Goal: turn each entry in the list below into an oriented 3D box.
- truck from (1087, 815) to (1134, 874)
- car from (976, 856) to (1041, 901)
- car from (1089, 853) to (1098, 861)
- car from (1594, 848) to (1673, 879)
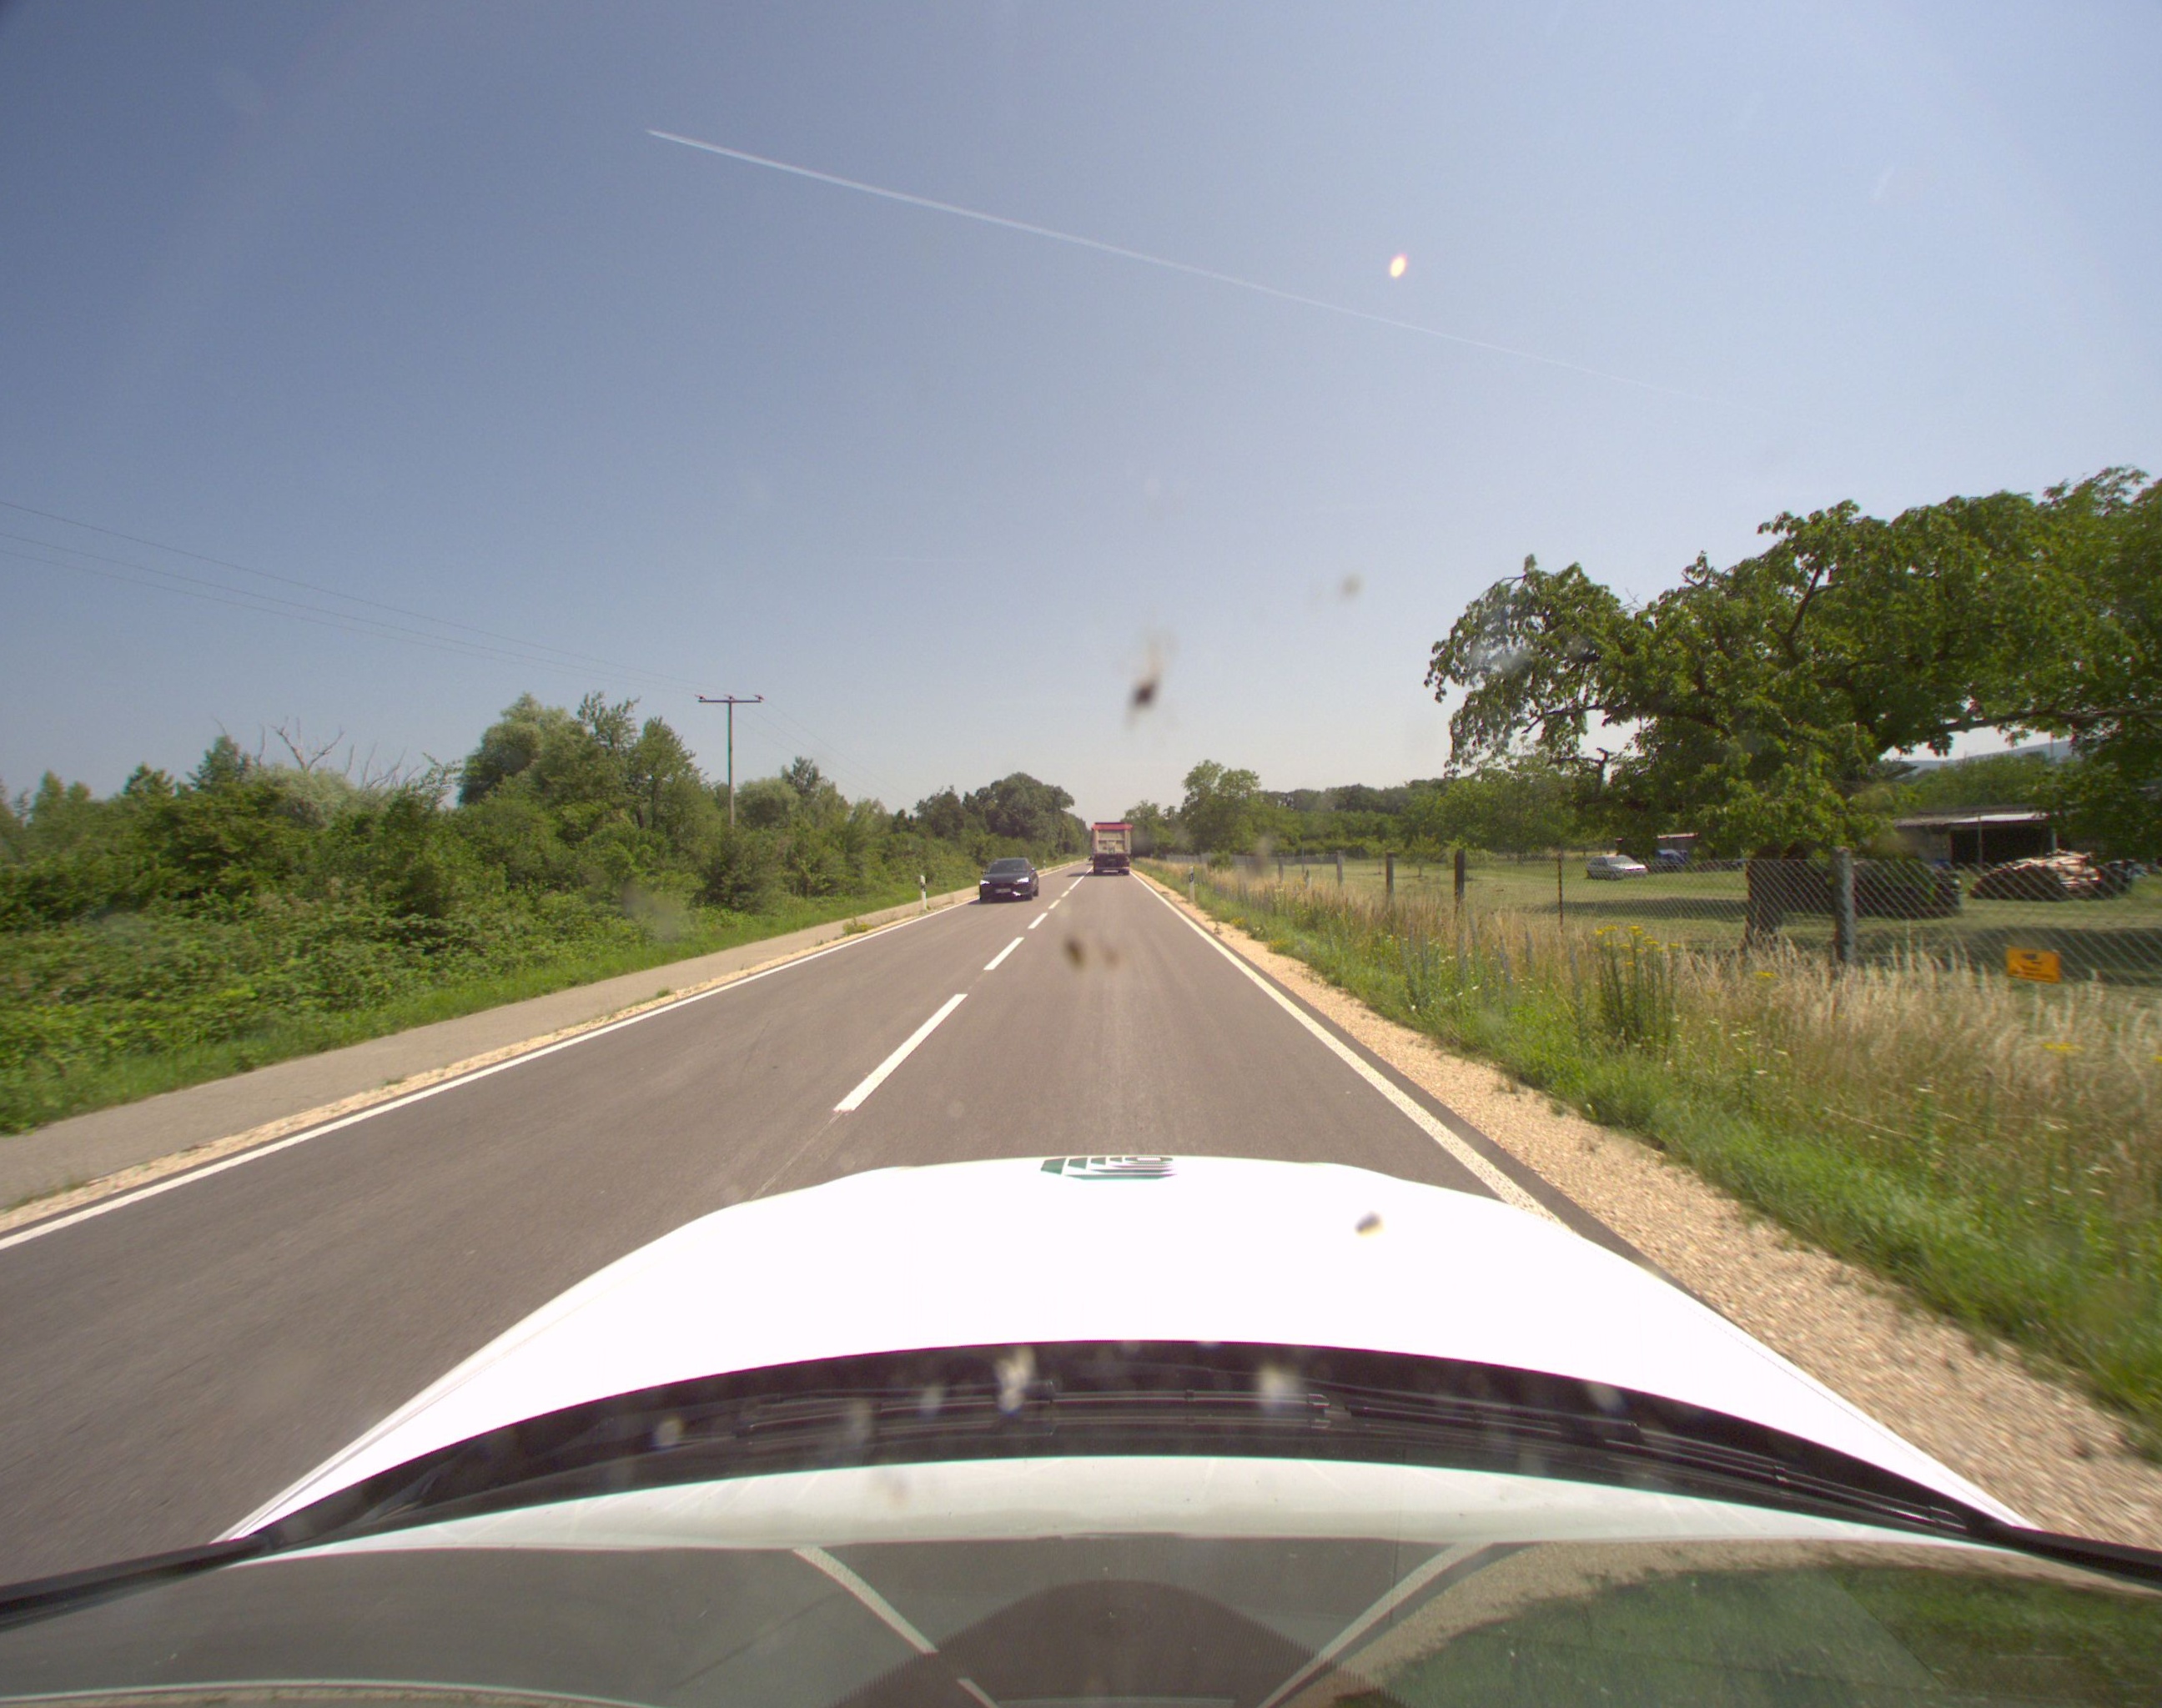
[{"bbox_3d":[2.132,-0.596,59.608,2.998,3.874,12.213,0,0,2],"label":"truck"},{"bbox_3d":[-2.503,0.809,28.886,1.752,1.357,4.047,-3,0,1],"label":"car"},{"bbox_3d":[2.690,0.581,175.867,1.752,1.540,4.047,-3,0,1],"label":"car"},{"bbox_3d":[28.747,0.456,42.502,1.591,1.486,3.420,-1,1,-6],"label":"car"}]
